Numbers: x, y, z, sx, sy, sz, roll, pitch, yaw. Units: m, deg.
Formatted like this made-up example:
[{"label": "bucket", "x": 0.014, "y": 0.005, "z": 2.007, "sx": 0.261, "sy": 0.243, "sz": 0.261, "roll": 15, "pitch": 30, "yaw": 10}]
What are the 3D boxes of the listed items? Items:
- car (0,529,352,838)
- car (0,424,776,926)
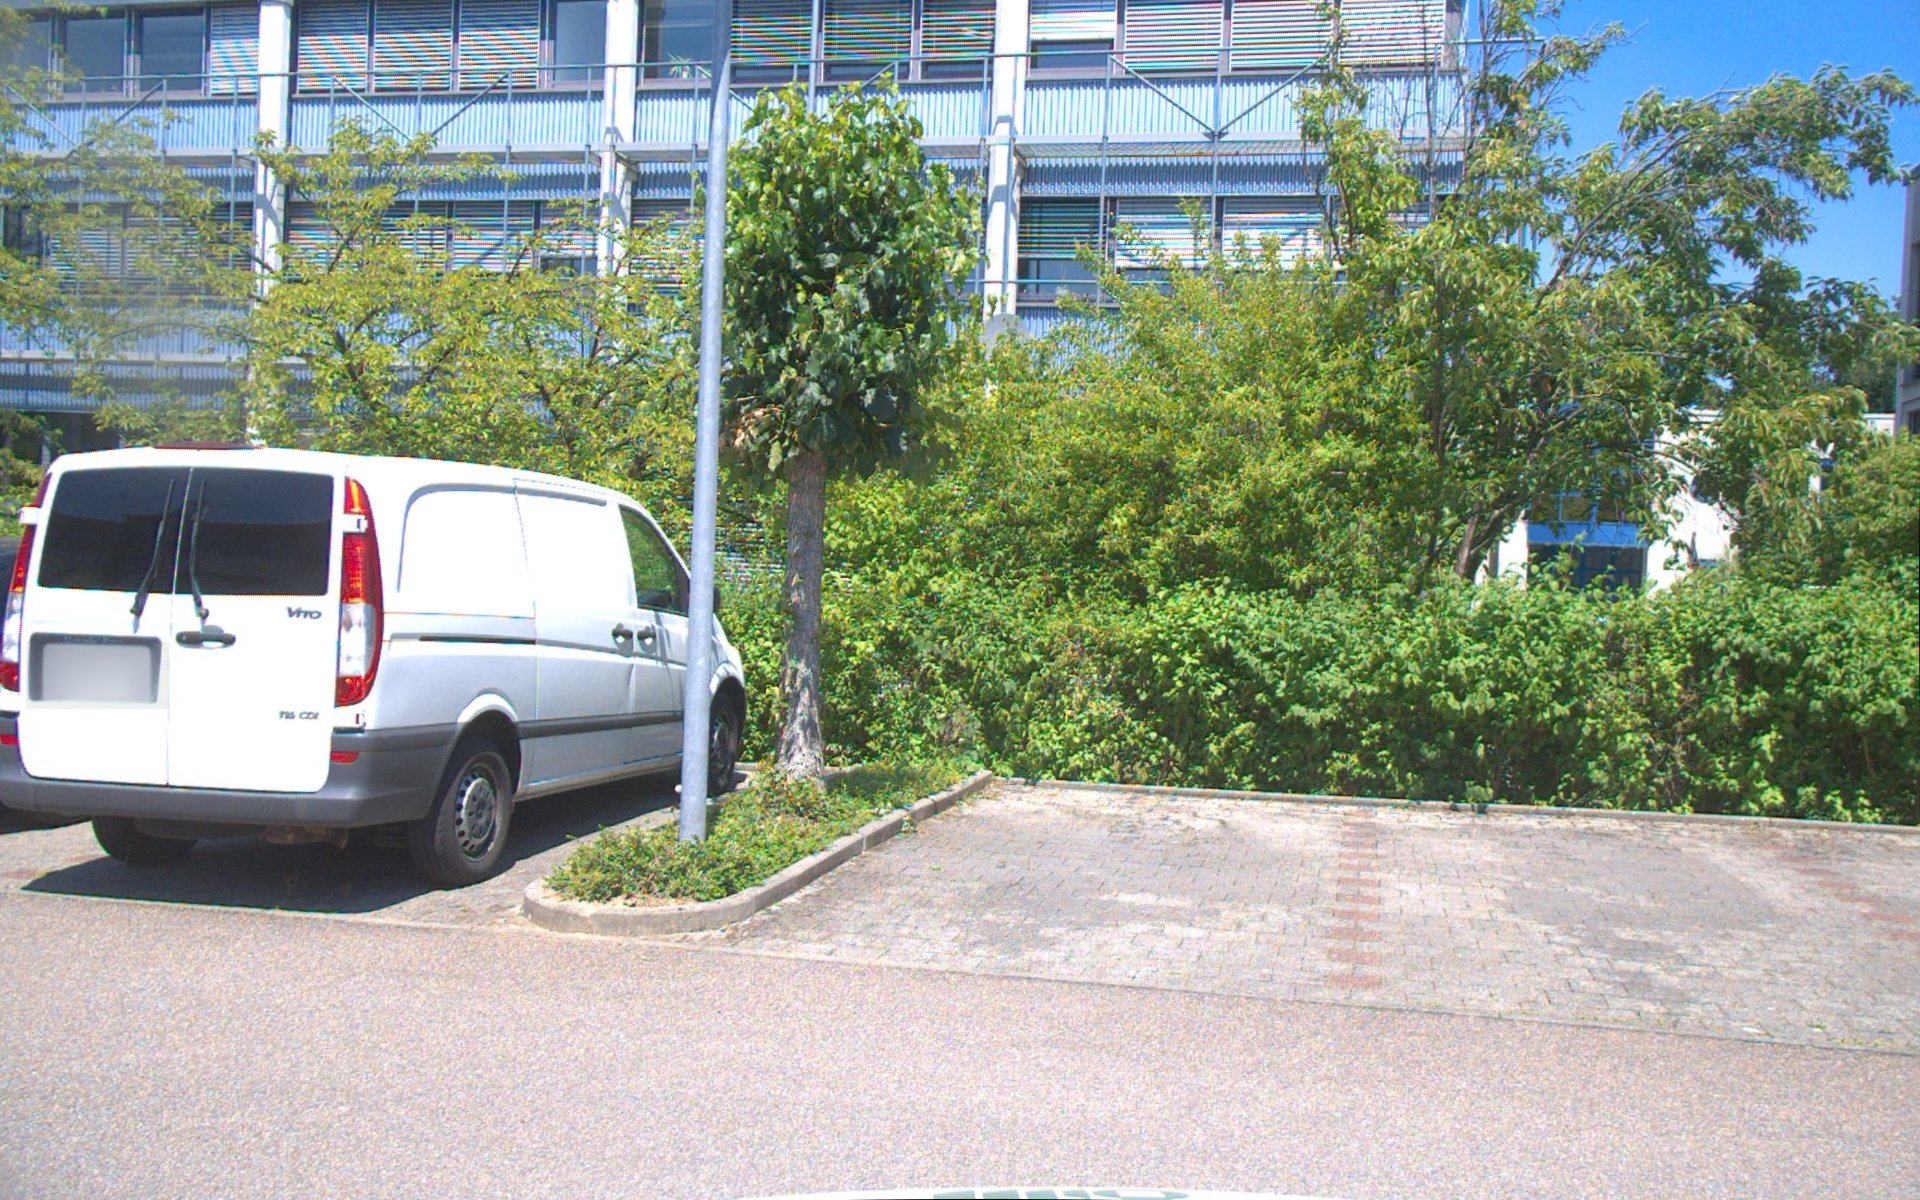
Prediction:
[{"label": "car", "x": -5.371, "y": 0.340, "z": 9.929, "sx": 1.717, "sy": 1.502, "sz": 4.003, "roll": 1, "pitch": 2, "yaw": 4}, {"label": "car", "x": -2.659, "y": 0.220, "z": 8.934, "sx": 1.872, "sy": 1.938, "sz": 4.813, "roll": 1, "pitch": 1, "yaw": 12}]
